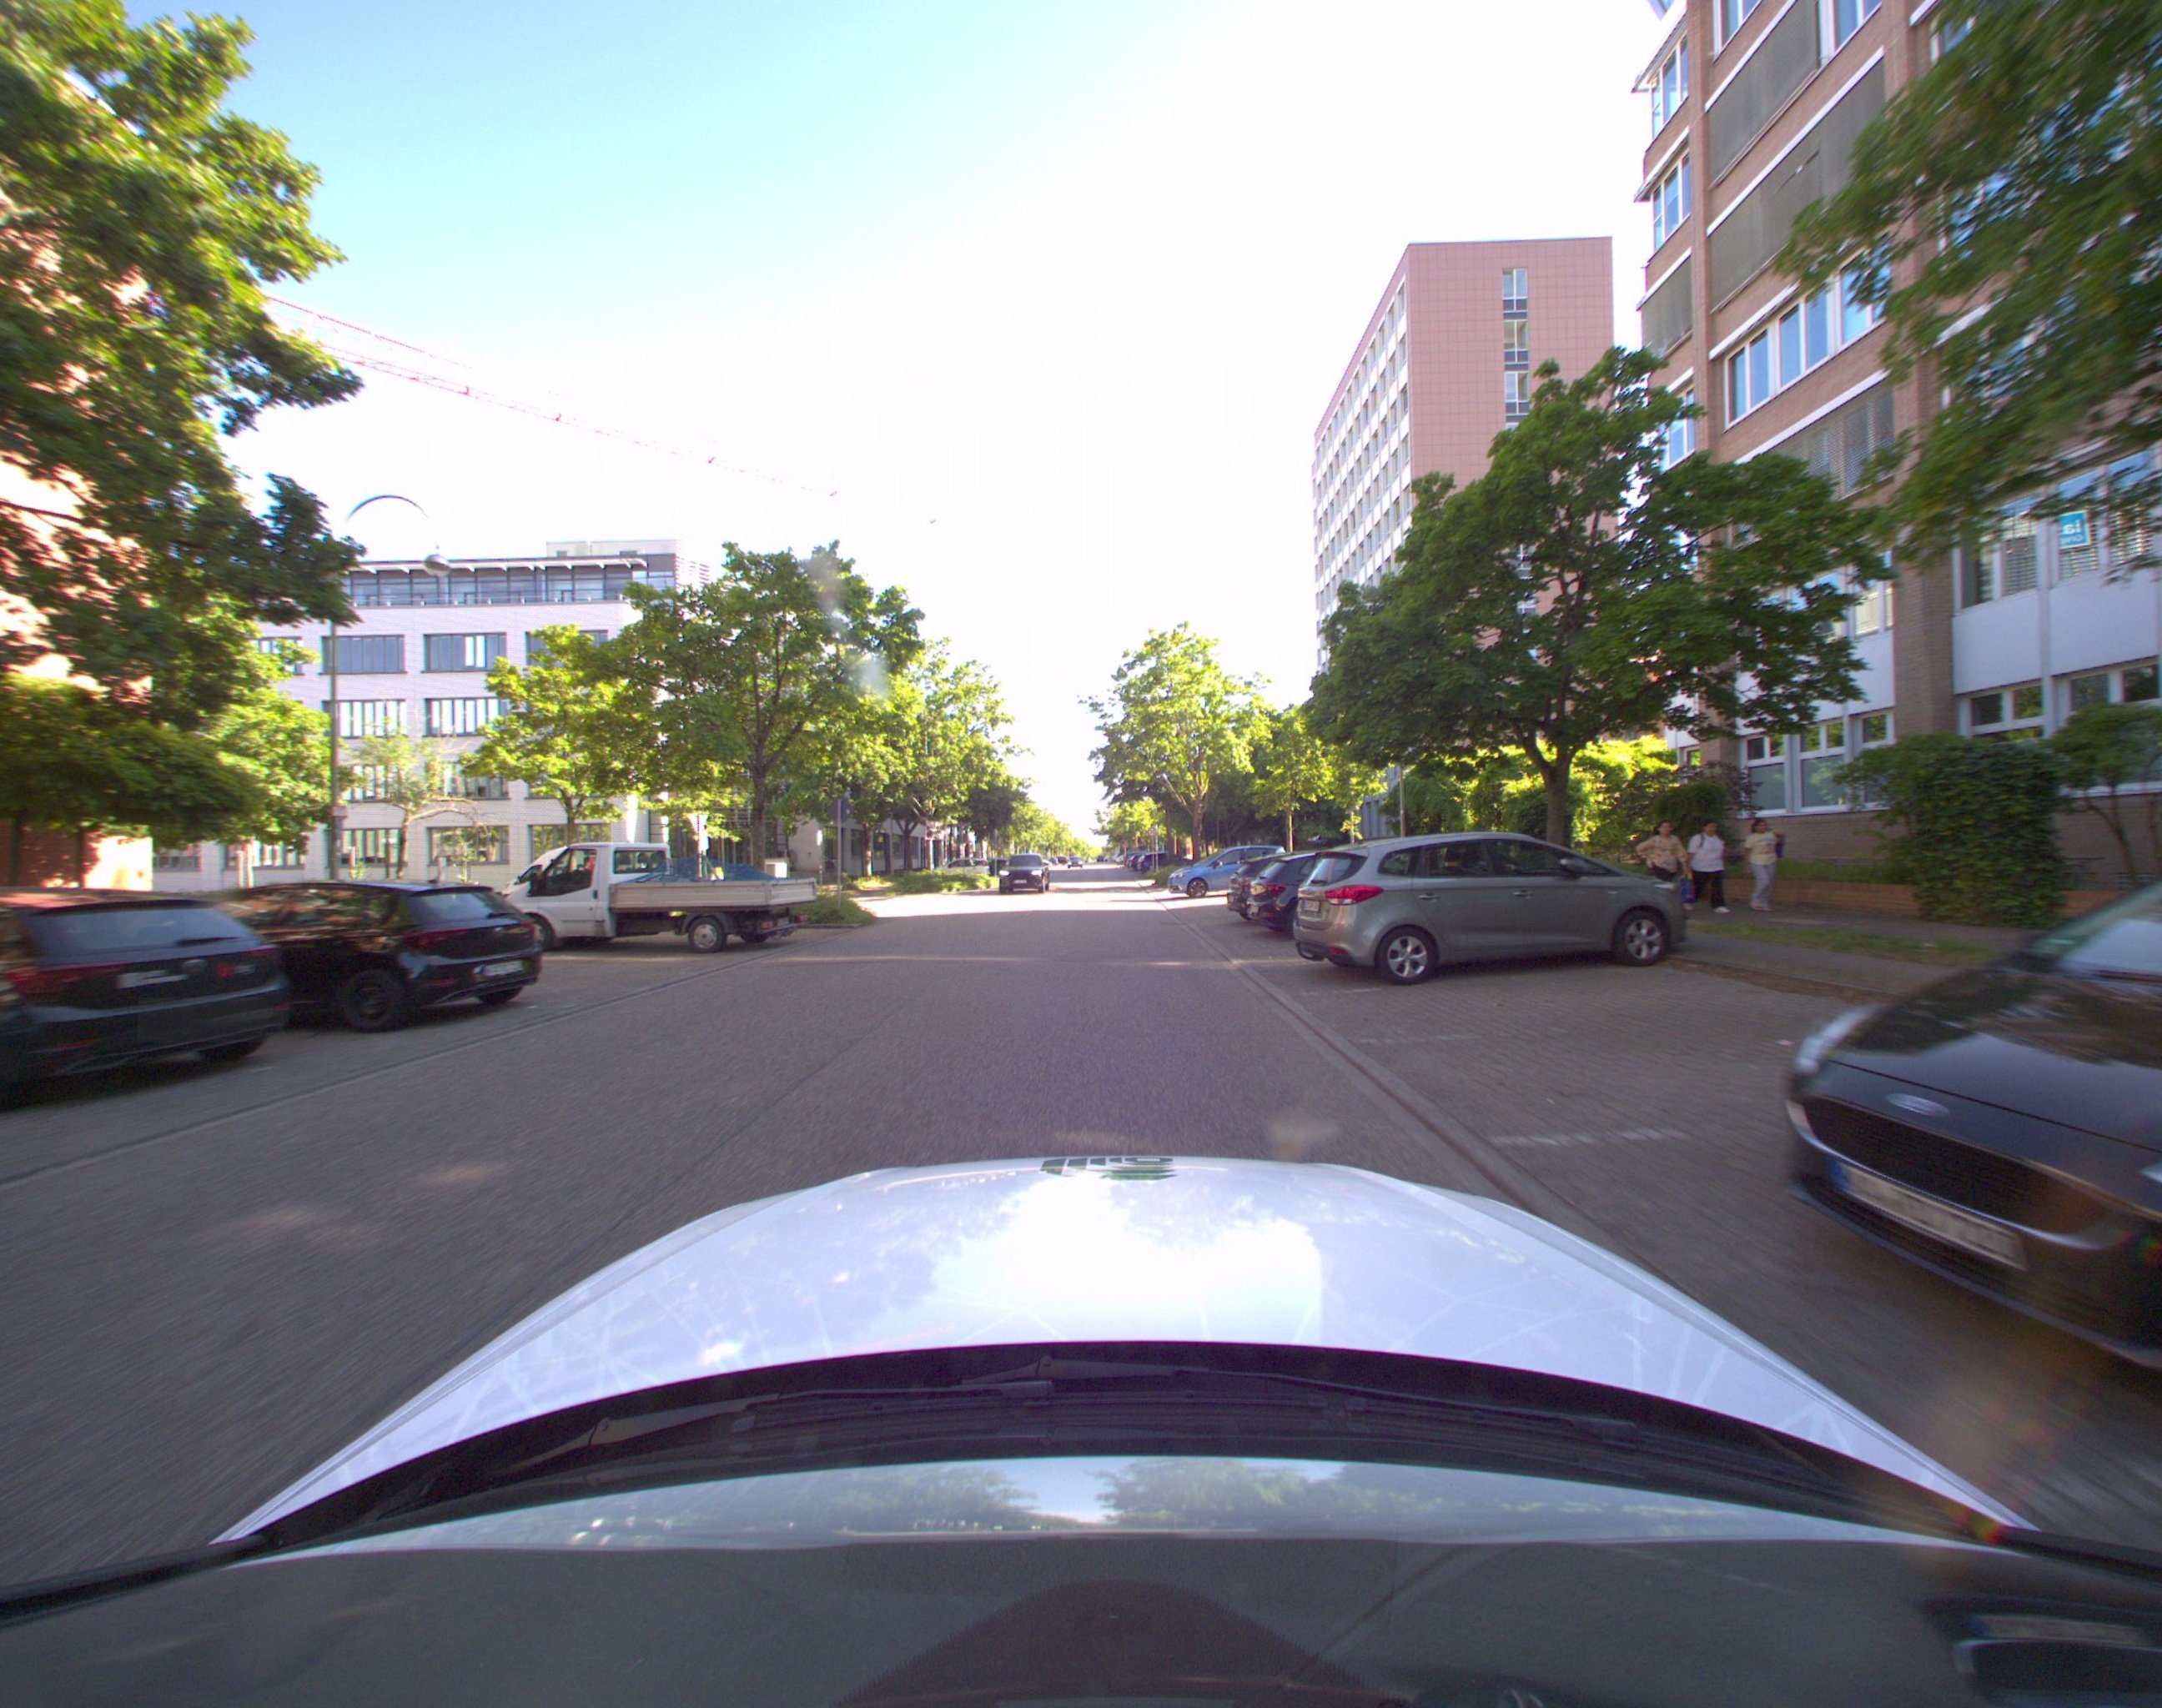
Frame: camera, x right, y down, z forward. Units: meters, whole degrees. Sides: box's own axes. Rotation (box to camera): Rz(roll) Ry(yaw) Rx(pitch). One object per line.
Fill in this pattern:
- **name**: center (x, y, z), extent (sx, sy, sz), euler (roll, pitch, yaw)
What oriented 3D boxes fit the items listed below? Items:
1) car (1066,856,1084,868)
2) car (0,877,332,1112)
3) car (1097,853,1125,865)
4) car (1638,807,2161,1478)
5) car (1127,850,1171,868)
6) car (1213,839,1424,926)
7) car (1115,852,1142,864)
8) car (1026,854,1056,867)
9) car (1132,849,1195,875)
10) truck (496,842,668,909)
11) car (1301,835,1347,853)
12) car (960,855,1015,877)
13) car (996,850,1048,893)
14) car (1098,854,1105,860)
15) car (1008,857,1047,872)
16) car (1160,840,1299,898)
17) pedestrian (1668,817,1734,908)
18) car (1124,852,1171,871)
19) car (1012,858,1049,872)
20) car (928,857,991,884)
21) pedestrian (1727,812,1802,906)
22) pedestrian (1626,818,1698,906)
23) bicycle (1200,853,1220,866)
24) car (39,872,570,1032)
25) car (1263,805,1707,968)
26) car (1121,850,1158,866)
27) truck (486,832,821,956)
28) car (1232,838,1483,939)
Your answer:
- **car**: center (-0.692, 0.953, 99.506), extent (1.804, 1.415, 4.113), euler (-1, 0, 5)
- **car**: center (-8.411, 0.981, 6.101), extent (3.973, 1.435, 1.722), euler (-2, 0, 1)
- **car**: center (4.490, 0.765, 123.118), extent (3.979, 1.624, 1.997), euler (-1, 0, -4)
- **car**: center (4.294, 0.559, 2.495), extent (3.919, 1.439, 1.775), euler (-2, 0, 2)
- **car**: center (6.489, 0.512, 77.720), extent (4.033, 1.491, 1.549), euler (-3, -1, -2)
- **car**: center (4.868, 0.560, 17.084), extent (3.833, 1.483, 1.825), euler (-4, 0, 0)
- **car**: center (7.541, 0.694, 129.656), extent (3.979, 1.792, 1.997), euler (-1, 0, -4)
- **car**: center (-5.709, 0.958, 115.644), extent (3.969, 1.654, 1.862), euler (-2, 0, 3)
- **car**: center (5.841, 0.589, 58.295), extent (4.256, 1.633, 1.857), euler (-2, 0, -2)
- **truck**: center (-22.412, 0.932, 36.817), extent (6.085, 2.704, 2.577), euler (-2, 0, -1)
- **car**: center (24.255, -0.962, 81.418), extent (4.062, 1.783, 1.998), euler (0, -1, -3)
- **car**: center (-6.744, 0.873, 59.042), extent (3.720, 1.464, 1.676), euler (-1, 0, 0)
- **car**: center (-2.474, 0.723, 35.053), extent (1.886, 1.684, 4.351), euler (-2, 0, -1)
- **car**: center (5.517, 0.790, 217.197), extent (1.926, 1.597, 4.367), euler (-2, 0, 1)
- **car**: center (-5.579, 1.092, 85.287), extent (3.880, 1.464, 1.858), euler (-1, 0, 0)
- **car**: center (5.066, 0.504, 28.196), extent (4.390, 1.618, 1.912), euler (-4, 0, 0)
- **pedestrian**: center (10.726, 0.144, 14.107), extent (0.600, 1.521, 0.594), euler (-2, -2, -1)
- **car**: center (6.057, 0.662, 74.719), extent (4.039, 1.591, 1.547), euler (-2, 0, -6)
- **car**: center (-5.440, 1.180, 88.485), extent (3.880, 1.464, 1.858), euler (-1, 0, 0)
- **car**: center (-7.337, 1.015, 49.392), extent (3.570, 1.549, 1.636), euler (-1, -3, -1)
- **pedestrian**: center (11.669, 0.085, 13.915), extent (0.754, 1.552, 0.559), euler (-2, 0, -2)
- **pedestrian**: center (9.927, 0.122, 13.938), extent (0.698, 1.457, 0.715), euler (-2, 2, -1)
- **bicycle**: center (10.752, 0.457, 67.763), extent (0.382, 1.078, 1.766), euler (-1, 0, -40)
- **car**: center (-8.000, 0.959, 8.674), extent (3.971, 1.435, 1.790), euler (-1, 0, 2)
- **car**: center (4.601, 0.331, 9.686), extent (4.345, 1.597, 1.936), euler (-2, 0, -5)
- **car**: center (6.424, 0.451, 89.406), extent (3.881, 1.656, 1.857), euler (-1, 0, -1)
- **truck**: center (-7.643, 0.691, 14.926), extent (4.964, 1.959, 2.140), euler (-2, 0, 3)
- **car**: center (4.787, 0.564, 14.396), extent (3.793, 1.408, 1.699), euler (-4, 0, -4)
